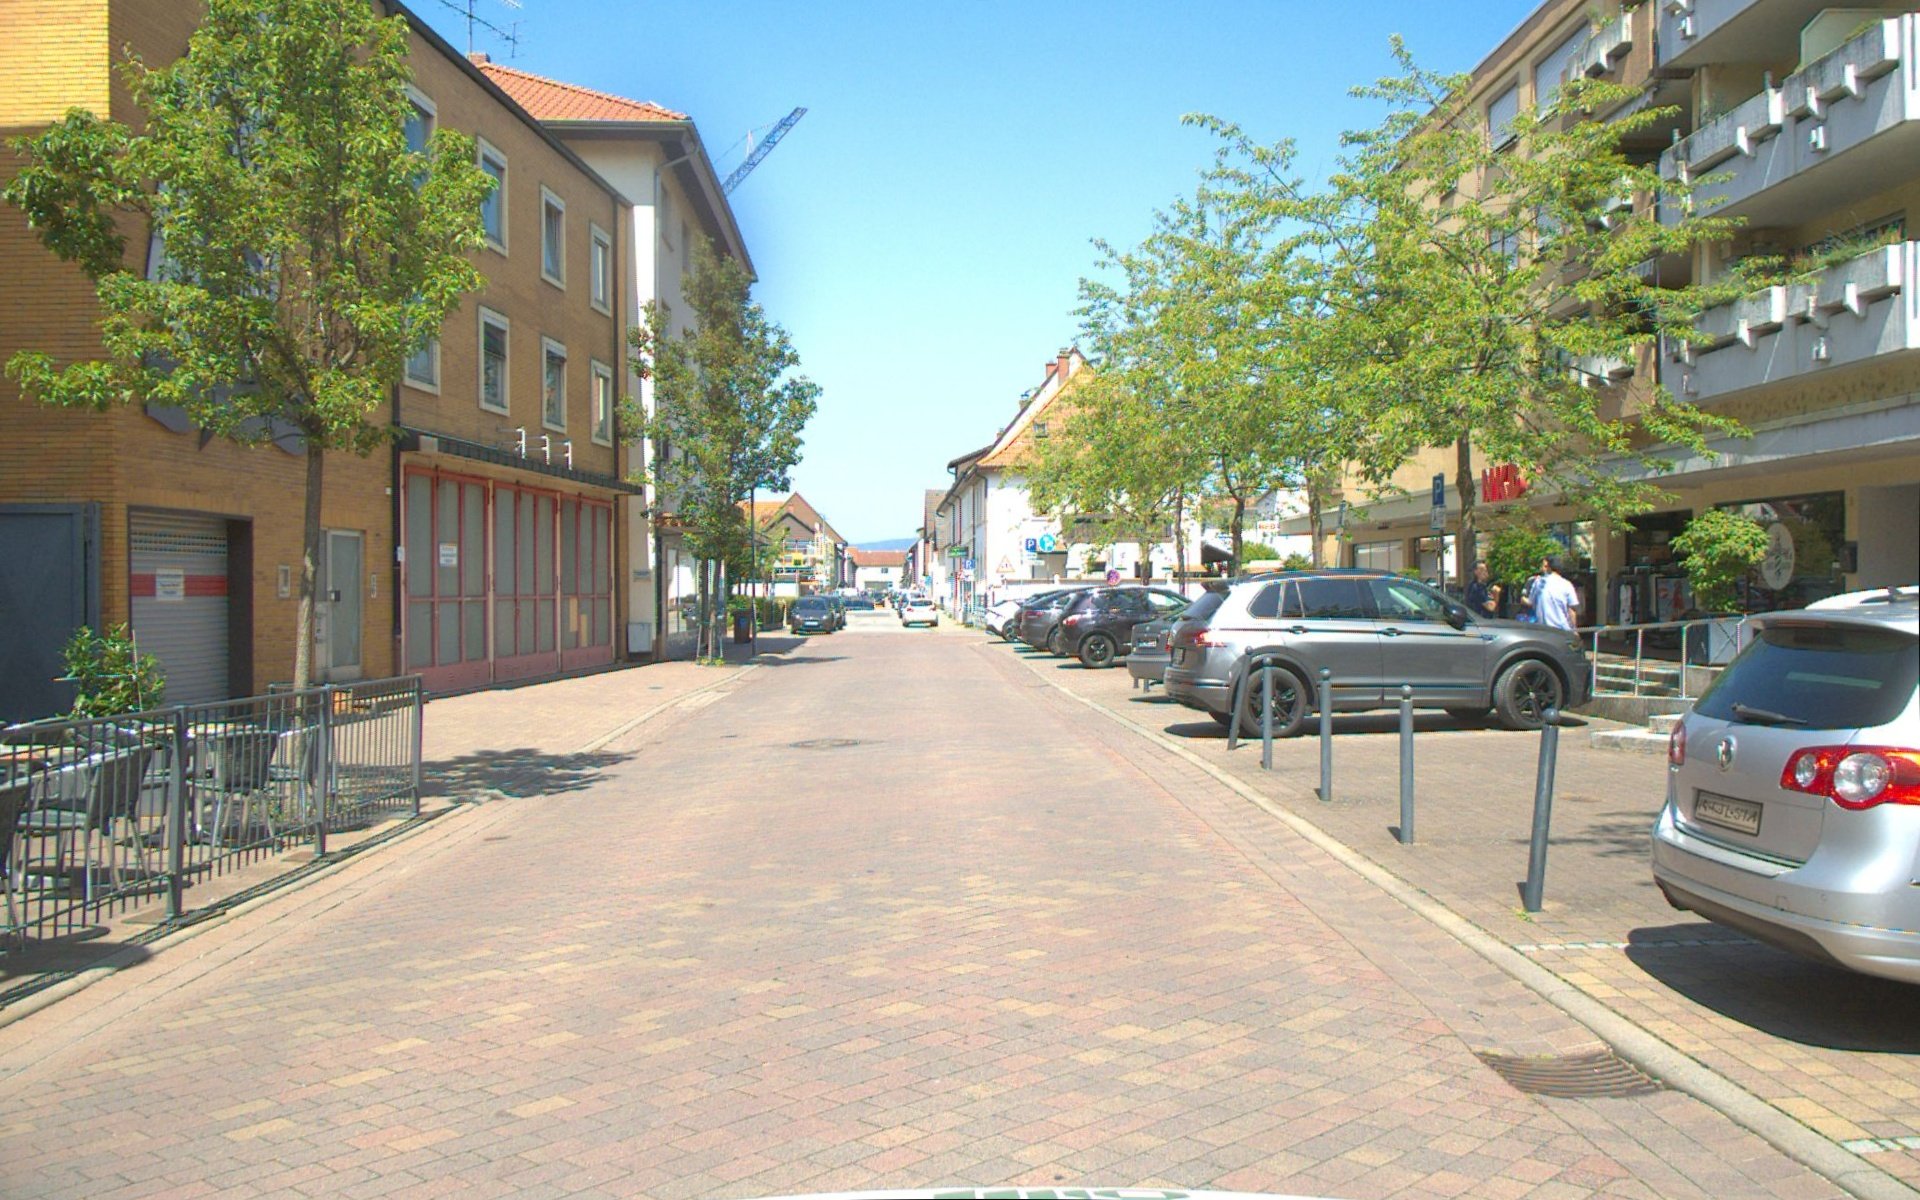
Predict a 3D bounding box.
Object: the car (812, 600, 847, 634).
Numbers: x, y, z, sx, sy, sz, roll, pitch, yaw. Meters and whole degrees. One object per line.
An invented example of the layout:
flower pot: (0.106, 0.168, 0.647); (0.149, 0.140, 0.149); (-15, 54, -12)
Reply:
car: (-6.383, 0.827, 81.170); (1.477, 1.526, 3.826); (0, 1, -2)

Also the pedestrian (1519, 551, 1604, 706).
pedestrian: (7.175, 0.325, 19.758); (0.819, 1.818, 0.807); (0, 1, 10)

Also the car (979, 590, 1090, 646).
car: (2.426, 0.582, 54.435); (3.412, 1.730, 1.533); (-1, 0, -7)

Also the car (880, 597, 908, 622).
car: (-4.284, 0.612, 107.789); (1.711, 1.507, 3.628); (0, 1, -1)

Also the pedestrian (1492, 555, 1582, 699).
pedestrian: (7.465, 0.336, 21.417); (0.822, 1.818, 0.805); (0, 1, -8)

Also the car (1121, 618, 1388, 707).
car: (4.063, 0.846, 23.034); (3.454, 1.161, 1.272); (0, 0, -6)

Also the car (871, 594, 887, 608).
car: (-9.219, 0.145, 188.667); (1.711, 1.507, 3.628); (0, 1, -1)

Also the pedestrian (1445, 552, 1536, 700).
pedestrian: (6.660, 0.309, 20.791); (0.822, 1.818, 0.805); (0, 1, -8)

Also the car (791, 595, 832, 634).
car: (-6.196, 0.592, 69.146); (1.477, 1.526, 3.826); (0, 1, -2)

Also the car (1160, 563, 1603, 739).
car: (4.281, 0.496, 17.144); (4.159, 1.643, 1.557); (-1, 0, -3)

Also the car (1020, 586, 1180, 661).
car: (3.182, 0.540, 37.992); (3.451, 1.653, 1.710); (0, 0, -3)

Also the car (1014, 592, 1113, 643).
car: (3.590, 0.609, 57.551); (3.281, 1.745, 1.469); (0, -1, -3)

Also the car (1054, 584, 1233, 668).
car: (3.766, 0.528, 34.285); (3.451, 1.684, 1.710); (0, 0, -3)

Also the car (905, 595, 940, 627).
car: (-2.001, 0.559, 88.212); (1.794, 1.559, 3.944); (0, 1, -2)

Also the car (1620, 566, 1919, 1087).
car: (4.765, 0.670, 5.985); (4.068, 1.601, 1.759); (0, 1, -1)
